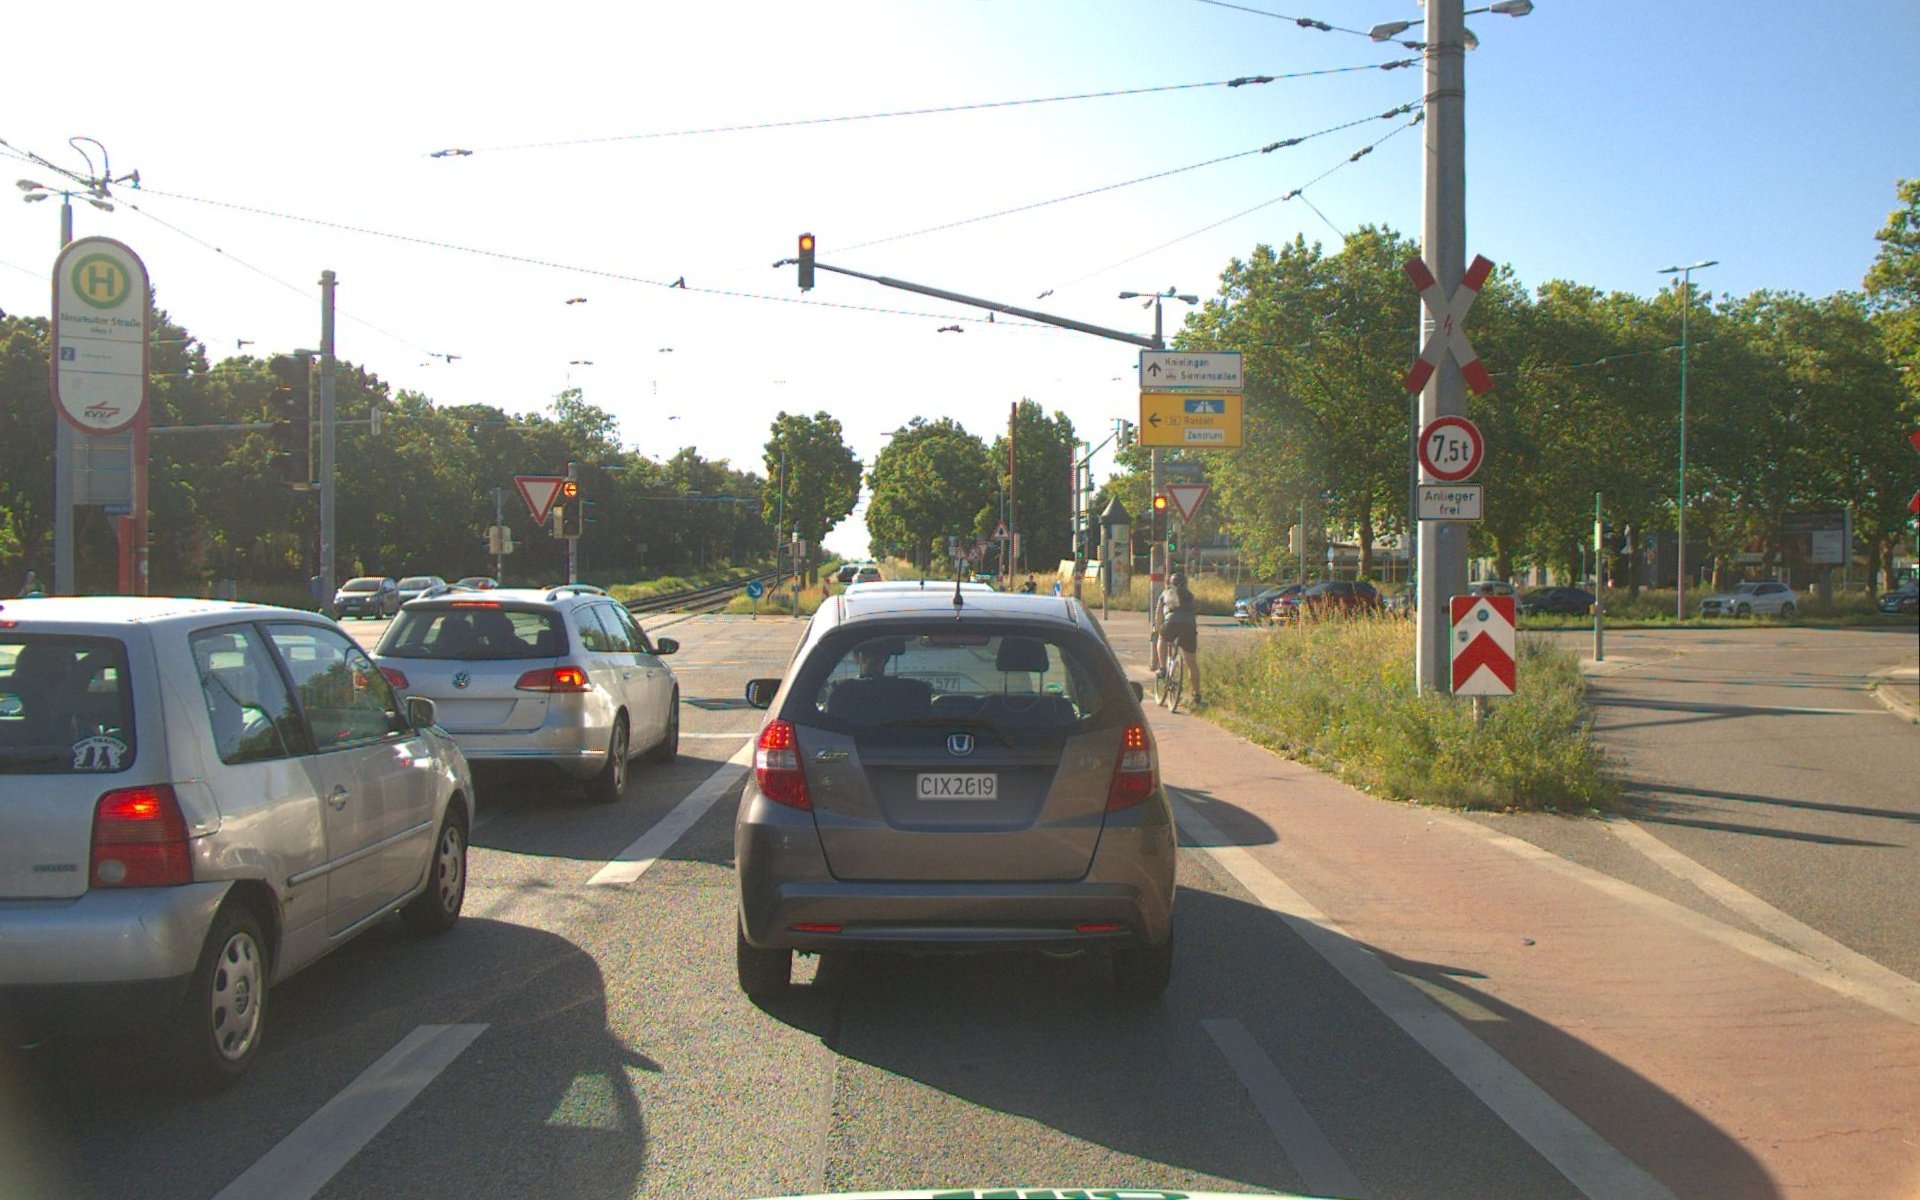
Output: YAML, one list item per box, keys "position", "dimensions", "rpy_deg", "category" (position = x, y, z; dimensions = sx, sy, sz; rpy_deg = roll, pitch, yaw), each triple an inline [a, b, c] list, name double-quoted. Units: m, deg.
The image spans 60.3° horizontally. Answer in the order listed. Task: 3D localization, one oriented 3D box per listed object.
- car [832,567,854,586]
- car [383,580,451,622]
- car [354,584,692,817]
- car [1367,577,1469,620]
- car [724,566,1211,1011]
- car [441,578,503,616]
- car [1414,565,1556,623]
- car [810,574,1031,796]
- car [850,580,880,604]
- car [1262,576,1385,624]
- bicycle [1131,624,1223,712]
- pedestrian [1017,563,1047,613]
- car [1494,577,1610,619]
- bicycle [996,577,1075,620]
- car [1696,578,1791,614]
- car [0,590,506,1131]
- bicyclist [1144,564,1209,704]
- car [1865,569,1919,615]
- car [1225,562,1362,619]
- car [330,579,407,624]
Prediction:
- position: [-8.915, -1.758, 125.748]
  dimensions: [1.494, 1.403, 3.670]
  rpy_deg: [0, 0, -7]
  category: "car"
- position: [-21.482, 0.021, 65.546]
  dimensions: [1.798, 1.575, 4.277]
  rpy_deg: [0, 0, -8]
  category: "car"
- position: [-3.154, 0.655, 12.734]
  dimensions: [1.586, 1.482, 4.084]
  rpy_deg: [1, 0, -1]
  category: "car"
- position: [17.538, -0.089, 63.329]
  dimensions: [3.694, 1.597, 1.480]
  rpy_deg: [0, 0, -24]
  category: "car"
- position: [-0.062, 0.622, 7.364]
  dimensions: [1.635, 1.487, 3.584]
  rpy_deg: [0, 0, -3]
  category: "car"
- position: [-21.730, -0.163, 73.795]
  dimensions: [1.956, 1.632, 4.746]
  rpy_deg: [1, 1, -8]
  category: "car"
- position: [19.024, -0.227, 59.892]
  dimensions: [4.823, 2.049, 1.985]
  rpy_deg: [0, 0, -24]
  category: "car"
- position: [-0.333, 0.600, 13.995]
  dimensions: [1.578, 1.589, 4.287]
  rpy_deg: [0, 0, -1]
  category: "car"
- position: [-6.193, -0.542, 107.918]
  dimensions: [1.677, 1.504, 3.993]
  rpy_deg: [0, 0, -8]
  category: "car"
- position: [12.361, -0.013, 56.171]
  dimensions: [3.934, 1.557, 1.594]
  rpy_deg: [-1, 1, -24]
  category: "car"
- position: [2.755, 0.842, 21.292]
  dimensions: [0.707, 1.006, 2.875]
  rpy_deg: [1, 0, -2]
  category: "bicycle"
- position: [2.744, -0.446, 62.764]
  dimensions: [0.845, 1.868, 0.781]
  rpy_deg: [0, 0, -35]
  category: "pedestrian"
- position: [23.595, -0.099, 65.877]
  dimensions: [4.450, 1.601, 1.681]
  rpy_deg: [0, 0, -24]
  category: "car"
- position: [2.879, -0.071, 62.802]
  dimensions: [3.176, 1.602, 0.811]
  rpy_deg: [0, 0, -35]
  category: "bicycle"
- position: [33.550, -0.183, 70.815]
  dimensions: [3.937, 1.527, 1.580]
  rpy_deg: [-1, 0, -26]
  category: "car"
- position: [-2.896, 0.705, 6.094]
  dimensions: [1.586, 1.442, 3.350]
  rpy_deg: [0, 0, -1]
  category: "car"
- position: [2.767, 0.429, 21.213]
  dimensions: [0.652, 1.746, 0.948]
  rpy_deg: [1, 0, -2]
  category: "bicyclist"
- position: [38.098, -0.336, 65.612]
  dimensions: [4.148, 1.805, 1.841]
  rpy_deg: [0, 0, -26]
  category: "car"
- position: [12.179, -0.328, 60.457]
  dimensions: [4.626, 1.912, 1.985]
  rpy_deg: [2, 0, -24]
  category: "car"
- position: [-21.314, 0.038, 59.758]
  dimensions: [1.798, 1.575, 3.993]
  rpy_deg: [0, 0, -8]
  category: "car"
